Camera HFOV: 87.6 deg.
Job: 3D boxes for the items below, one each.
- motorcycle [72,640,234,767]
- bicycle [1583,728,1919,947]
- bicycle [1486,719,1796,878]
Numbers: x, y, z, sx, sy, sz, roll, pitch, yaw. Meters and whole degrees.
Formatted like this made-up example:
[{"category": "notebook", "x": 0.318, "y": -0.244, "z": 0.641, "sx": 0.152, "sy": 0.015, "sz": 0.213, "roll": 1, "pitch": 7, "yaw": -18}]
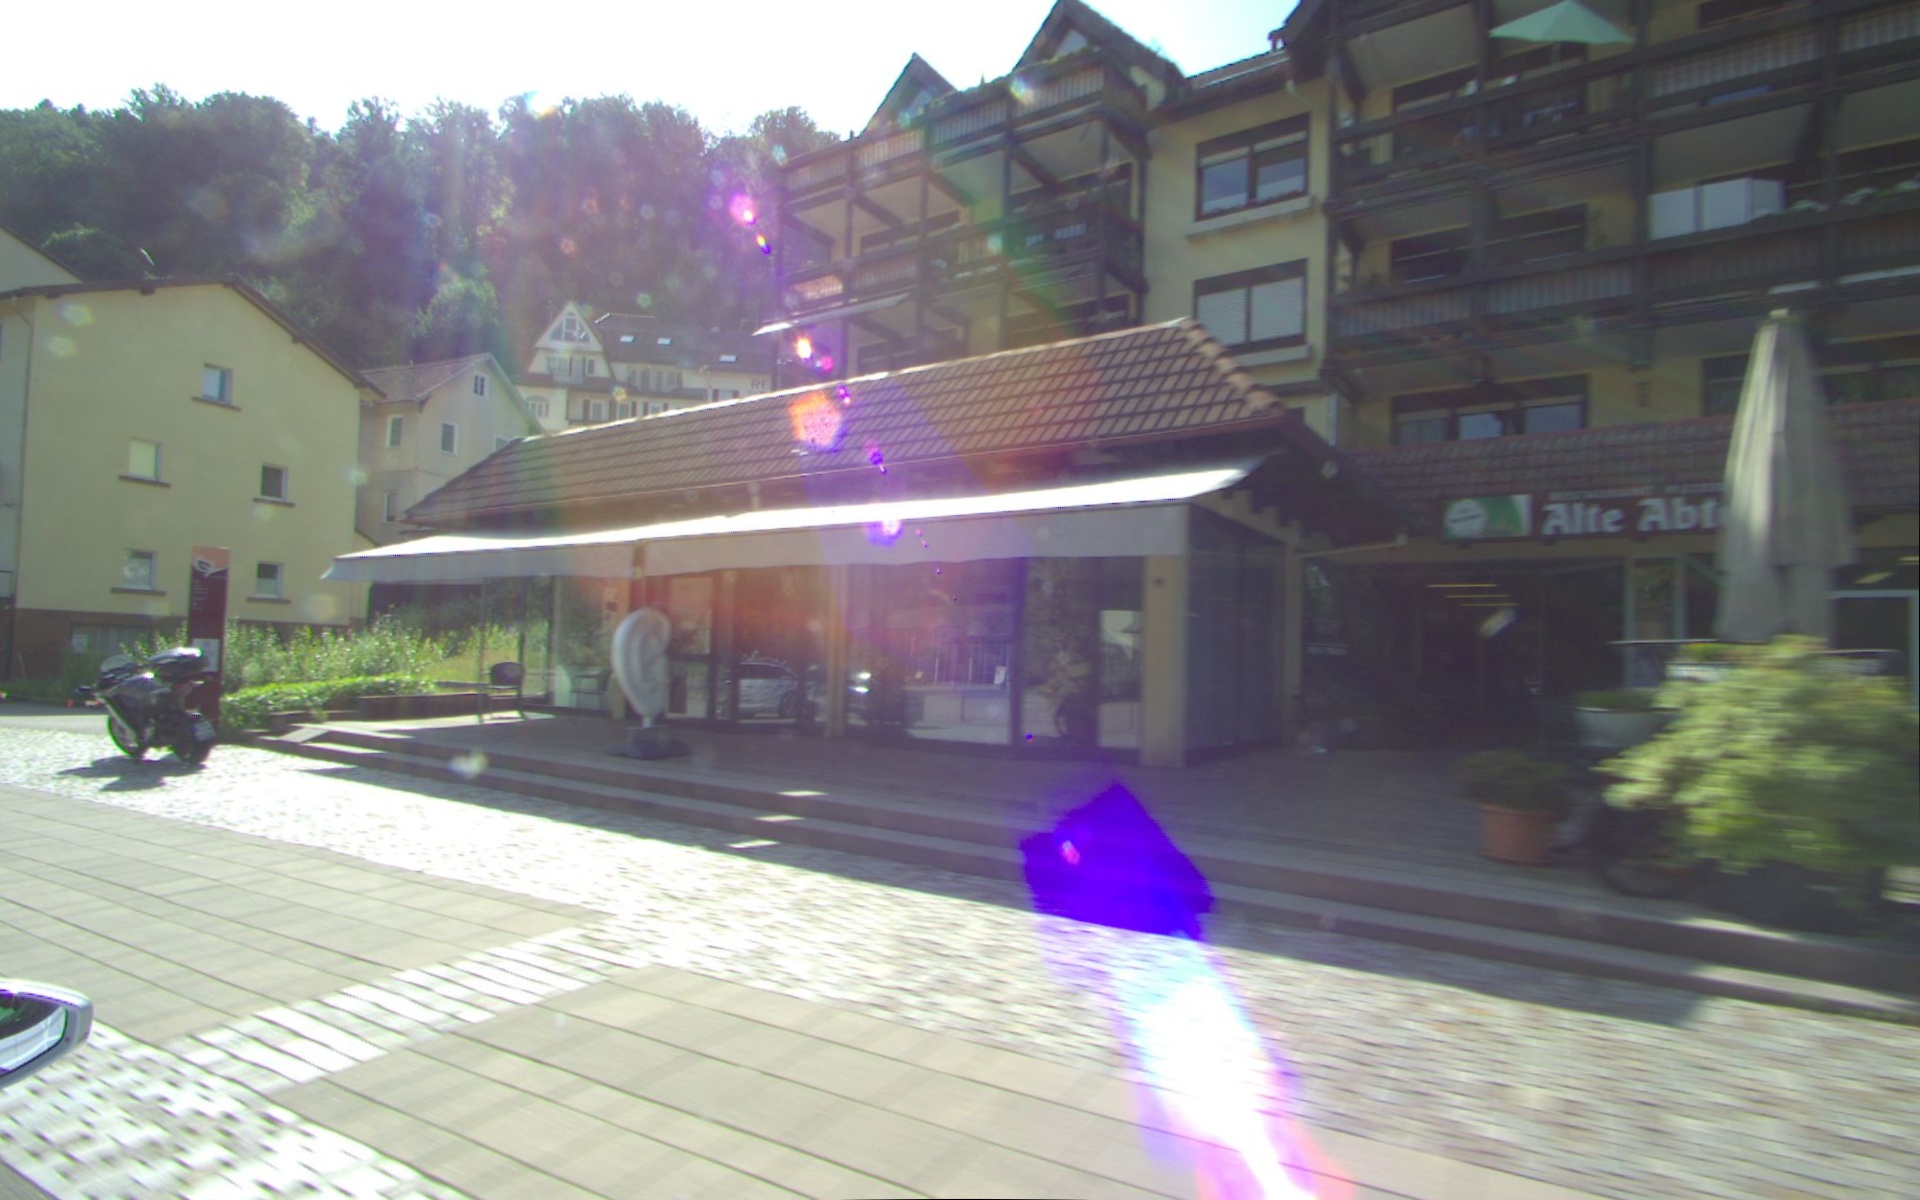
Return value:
[{"category": "motorcycle", "x": -9.279, "y": 1.134, "z": 11.490, "sx": 2.179, "sy": 1.313, "sz": 0.696, "roll": 0, "pitch": -1, "yaw": 30}, {"category": "bicycle", "x": 4.025, "y": 1.124, "z": 4.927, "sx": 1.597, "sy": 0.874, "sz": 0.395, "roll": -1, "pitch": -4, "yaw": 39}, {"category": "bicycle", "x": 4.262, "y": 1.227, "z": 6.351, "sx": 1.585, "sy": 0.852, "sz": 0.397, "roll": 1, "pitch": -3, "yaw": 12}]
